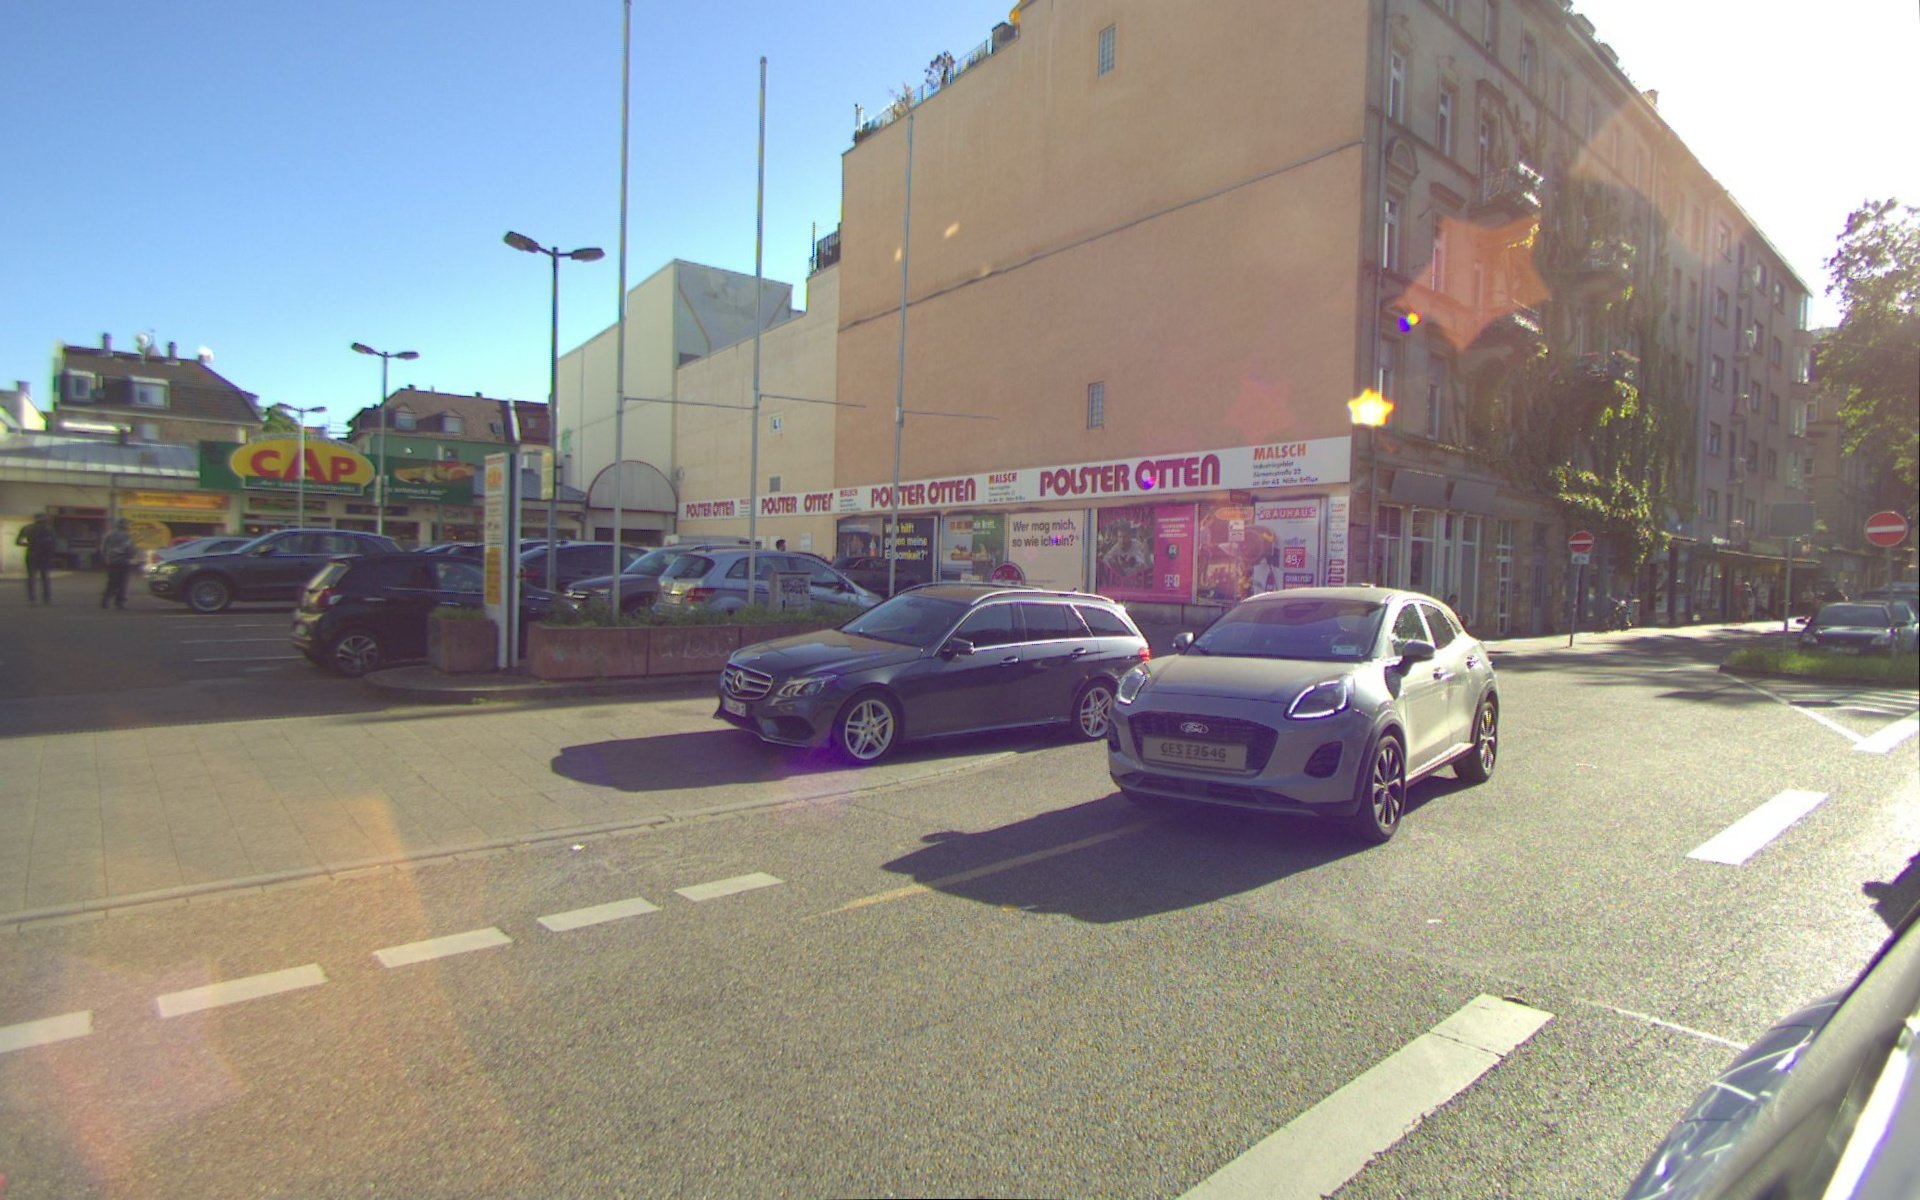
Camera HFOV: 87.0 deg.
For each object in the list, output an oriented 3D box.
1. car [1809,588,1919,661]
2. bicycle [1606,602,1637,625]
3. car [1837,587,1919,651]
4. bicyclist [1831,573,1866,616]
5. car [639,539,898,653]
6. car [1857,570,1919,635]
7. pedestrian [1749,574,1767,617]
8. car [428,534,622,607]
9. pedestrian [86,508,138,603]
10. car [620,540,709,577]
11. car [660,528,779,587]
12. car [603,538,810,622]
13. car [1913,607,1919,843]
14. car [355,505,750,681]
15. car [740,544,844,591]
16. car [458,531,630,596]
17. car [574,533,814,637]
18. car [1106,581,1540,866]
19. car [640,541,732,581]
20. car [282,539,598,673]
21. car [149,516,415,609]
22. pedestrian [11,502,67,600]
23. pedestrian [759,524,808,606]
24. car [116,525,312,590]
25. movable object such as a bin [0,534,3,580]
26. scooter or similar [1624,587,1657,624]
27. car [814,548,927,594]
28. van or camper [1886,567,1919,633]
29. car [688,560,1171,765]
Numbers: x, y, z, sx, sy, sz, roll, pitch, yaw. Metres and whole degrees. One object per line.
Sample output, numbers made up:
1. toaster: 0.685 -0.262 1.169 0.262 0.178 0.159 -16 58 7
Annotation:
1. car: 20.848 0.502 23.203 3.932 1.537 1.642 -1 0 -43
2. bicycle: 21.965 0.439 33.605 1.486 0.714 0.469 0 2 -41
3. car: 24.094 0.451 26.136 3.932 1.537 1.740 -1 0 -43
4. bicyclist: 31.194 -0.216 35.540 0.934 1.480 0.746 -1 2 -39
5. car: -3.081 -0.109 16.812 3.935 1.665 1.746 -1 3 -45
6. car: 27.874 0.052 29.625 3.930 1.785 1.868 0 2 -40
7. pedestrian: 34.585 -0.205 43.871 0.507 1.856 0.469 0 2 -41
8. car: -10.056 -0.680 23.546 3.871 1.563 1.544 0 3 -42
9. pedestrian: -16.190 -0.838 19.313 0.749 1.777 0.512 0 2 -42
10. car: -14.864 -2.066 50.926 3.967 1.758 1.664 0 2 -30
11. car: -10.521 -1.832 44.491 4.792 2.442 1.710 0 2 -37
12. car: -5.135 -0.424 20.794 3.872 1.563 1.544 0 3 -43
13. car: 7.526 0.425 6.241 4.551 1.821 1.876 0 2 -40
14. car: -4.511 -0.140 11.549 3.840 1.664 1.652 -1 5 -45
15. car: -6.374 -1.258 38.481 3.576 1.690 1.682 -1 3 -35
16. car: -10.901 -0.941 26.638 3.871 1.601 1.659 0 3 -42
17. car: -4.820 -0.305 18.676 3.933 1.714 1.747 -1 2 -44
18. car: 3.007 0.646 7.744 1.696 1.547 4.316 1 1 41
19. car: -13.196 -1.860 48.768 3.967 1.823 1.664 0 2 -30
20. car: -6.629 0.021 13.091 3.339 1.504 1.559 -1 2 -45
21. car: -13.620 -0.725 20.470 4.306 1.687 1.758 0 2 -41
22. pedestrian: -18.068 -0.957 19.845 0.745 1.864 0.751 3 2 42
23. pedestrian: -4.508 -0.886 25.867 0.907 2.038 0.818 0 2 -40
24. car: -19.067 -1.063 25.959 3.930 1.537 1.725 0 2 -41
25. movable object such as a bin: -32.517 -1.448 33.413 1.257 1.526 1.175 0 2 -41
26. scooter or similar: 23.338 0.162 34.726 0.631 1.188 1.720 2 2 25
27. car: -3.049 -1.023 34.866 3.579 1.481 1.680 -2 3 -39
28. van or camper: 31.988 -0.010 33.168 5.007 2.038 1.887 0 2 -42
29. car: -0.122 0.455 10.109 4.650 1.505 1.838 0 5 -40
